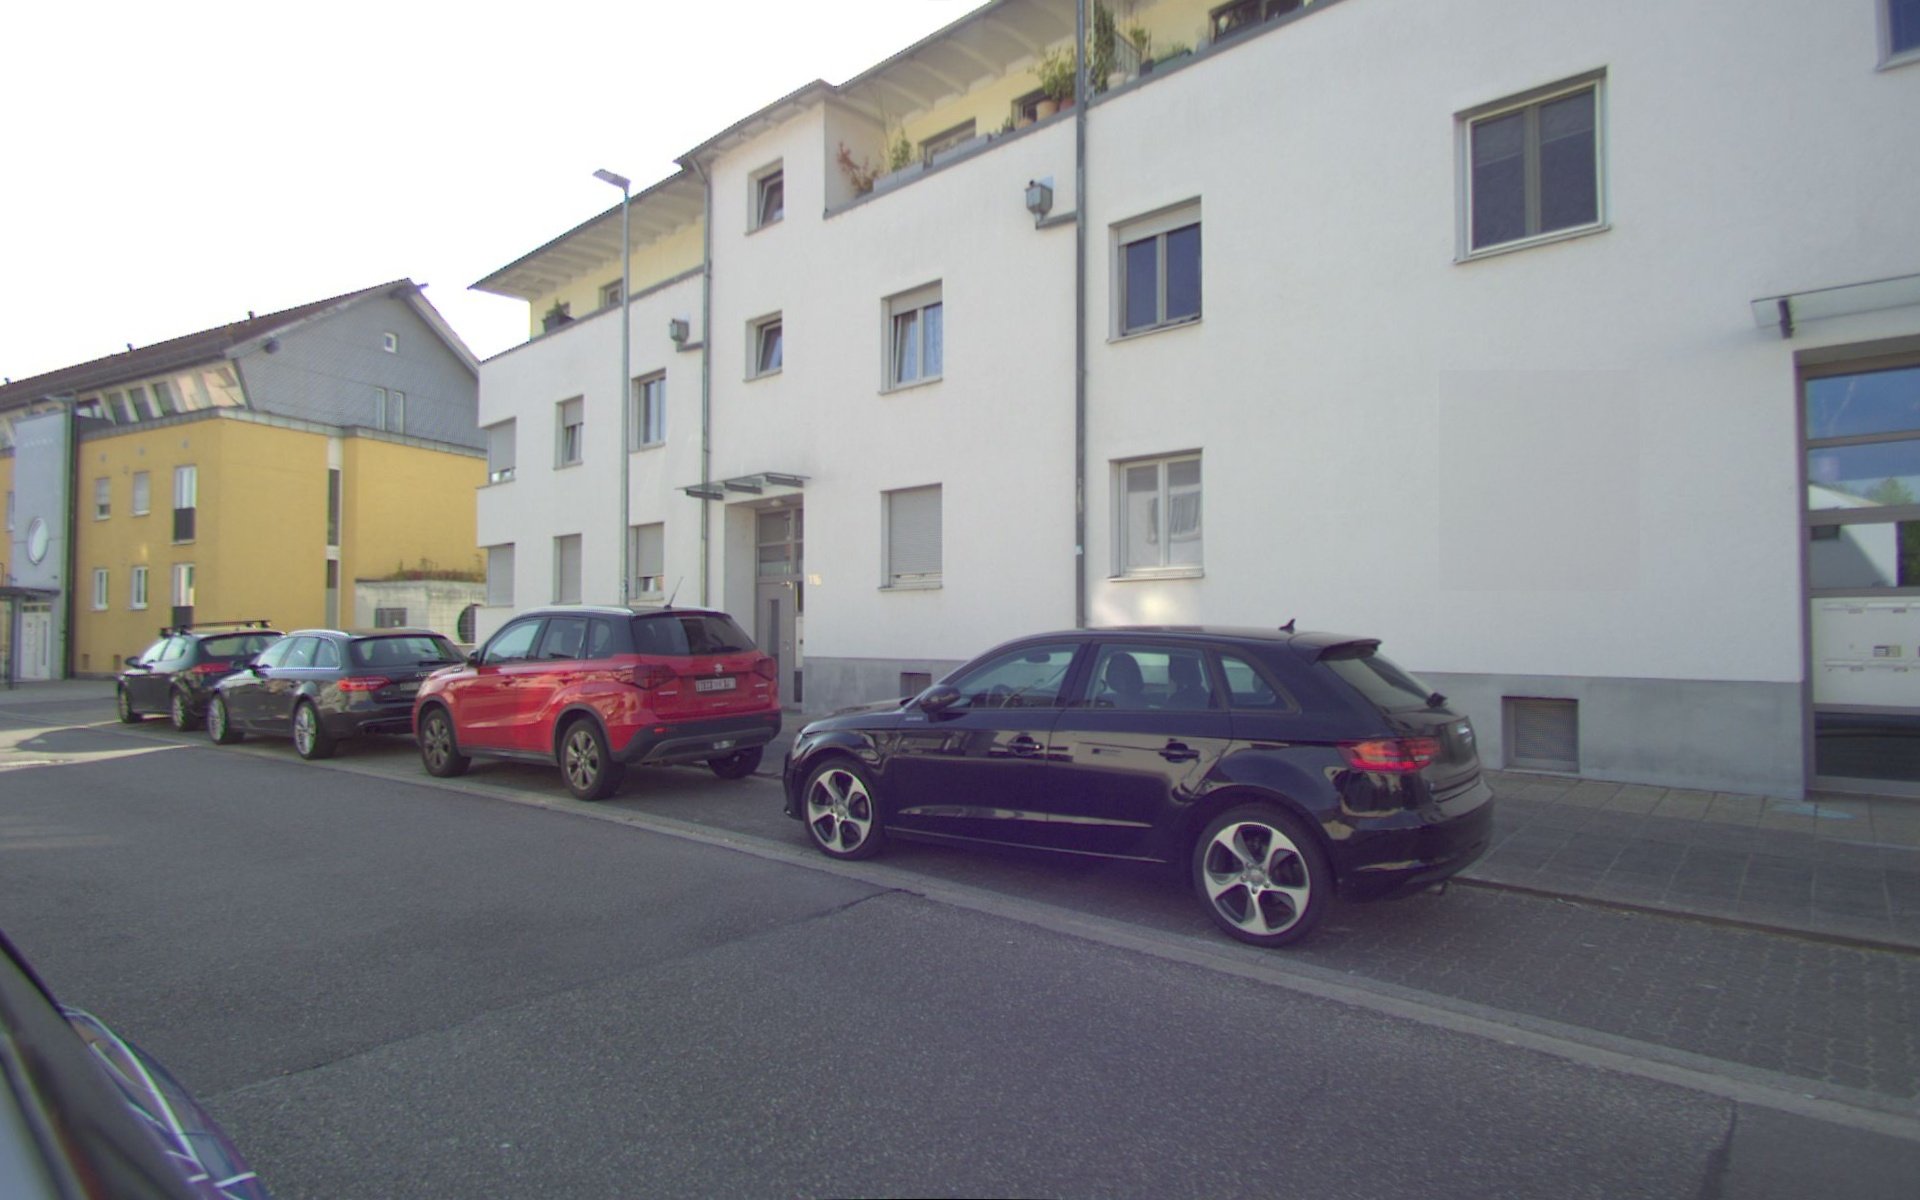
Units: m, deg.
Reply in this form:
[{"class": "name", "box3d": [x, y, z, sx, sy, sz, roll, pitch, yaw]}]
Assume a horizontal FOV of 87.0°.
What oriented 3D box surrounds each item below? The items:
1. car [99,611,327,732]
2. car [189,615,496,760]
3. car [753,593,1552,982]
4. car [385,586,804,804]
[{"class": "car", "box3d": [-11.953, 1.061, 16.116, 4.170, 1.634, 1.760, -2, 0, 36]}, {"class": "car", "box3d": [-7.794, 0.969, 12.615, 4.494, 1.489, 1.712, -1, -1, 36]}, {"class": "car", "box3d": [0.868, 0.782, 5.882, 4.256, 1.489, 1.711, -2, -2, 37]}, {"class": "car", "box3d": [-3.582, 0.791, 9.572, 4.256, 1.634, 1.711, -2, -3, 37]}]
